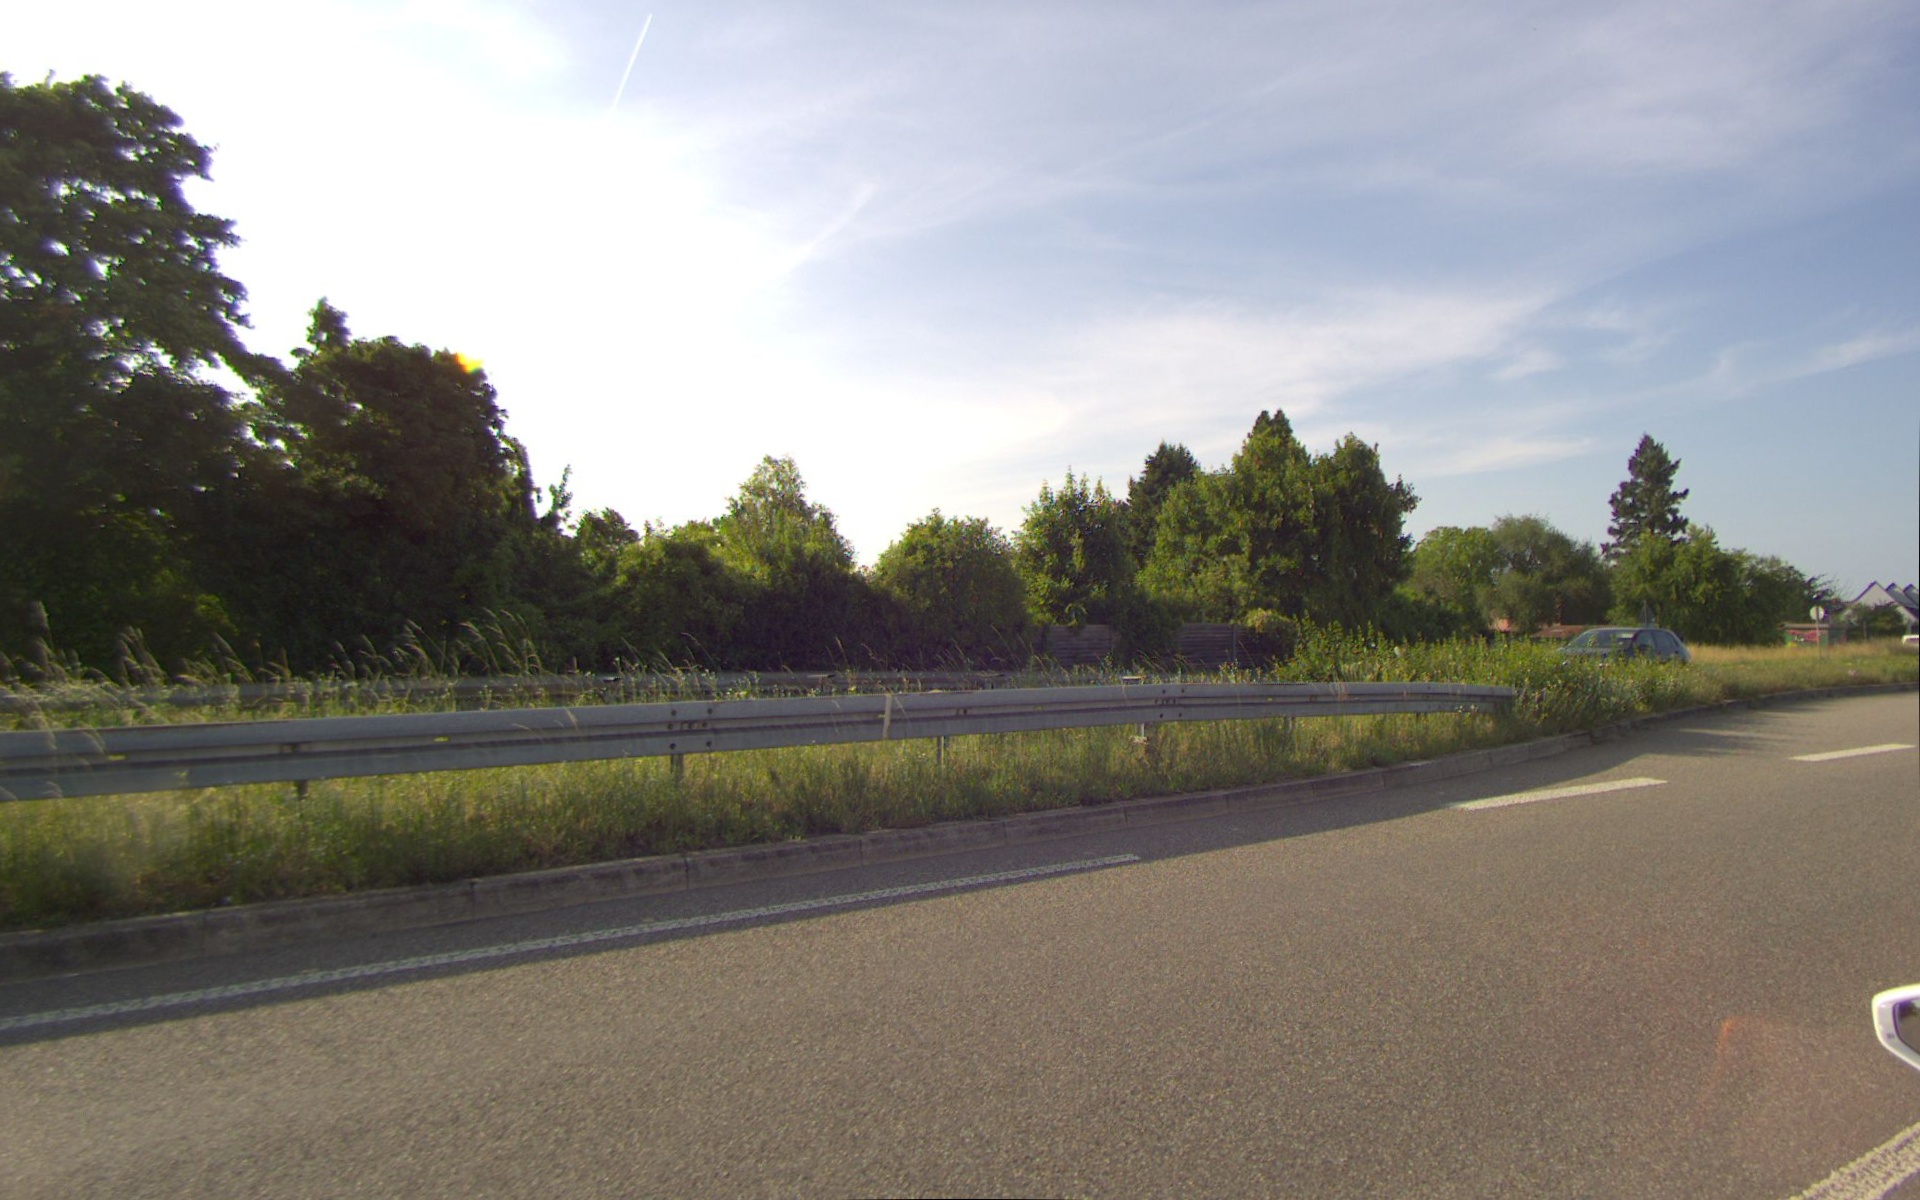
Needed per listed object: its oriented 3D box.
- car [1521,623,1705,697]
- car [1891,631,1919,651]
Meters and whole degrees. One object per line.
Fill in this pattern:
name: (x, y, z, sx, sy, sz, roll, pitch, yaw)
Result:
car: (15.221, 1.327, 23.373, 4.178, 1.506, 1.983, 0, 0, -31)
car: (75.920, 3.231, 78.704, 1.982, 1.542, 4.152, 0, 0, -38)
